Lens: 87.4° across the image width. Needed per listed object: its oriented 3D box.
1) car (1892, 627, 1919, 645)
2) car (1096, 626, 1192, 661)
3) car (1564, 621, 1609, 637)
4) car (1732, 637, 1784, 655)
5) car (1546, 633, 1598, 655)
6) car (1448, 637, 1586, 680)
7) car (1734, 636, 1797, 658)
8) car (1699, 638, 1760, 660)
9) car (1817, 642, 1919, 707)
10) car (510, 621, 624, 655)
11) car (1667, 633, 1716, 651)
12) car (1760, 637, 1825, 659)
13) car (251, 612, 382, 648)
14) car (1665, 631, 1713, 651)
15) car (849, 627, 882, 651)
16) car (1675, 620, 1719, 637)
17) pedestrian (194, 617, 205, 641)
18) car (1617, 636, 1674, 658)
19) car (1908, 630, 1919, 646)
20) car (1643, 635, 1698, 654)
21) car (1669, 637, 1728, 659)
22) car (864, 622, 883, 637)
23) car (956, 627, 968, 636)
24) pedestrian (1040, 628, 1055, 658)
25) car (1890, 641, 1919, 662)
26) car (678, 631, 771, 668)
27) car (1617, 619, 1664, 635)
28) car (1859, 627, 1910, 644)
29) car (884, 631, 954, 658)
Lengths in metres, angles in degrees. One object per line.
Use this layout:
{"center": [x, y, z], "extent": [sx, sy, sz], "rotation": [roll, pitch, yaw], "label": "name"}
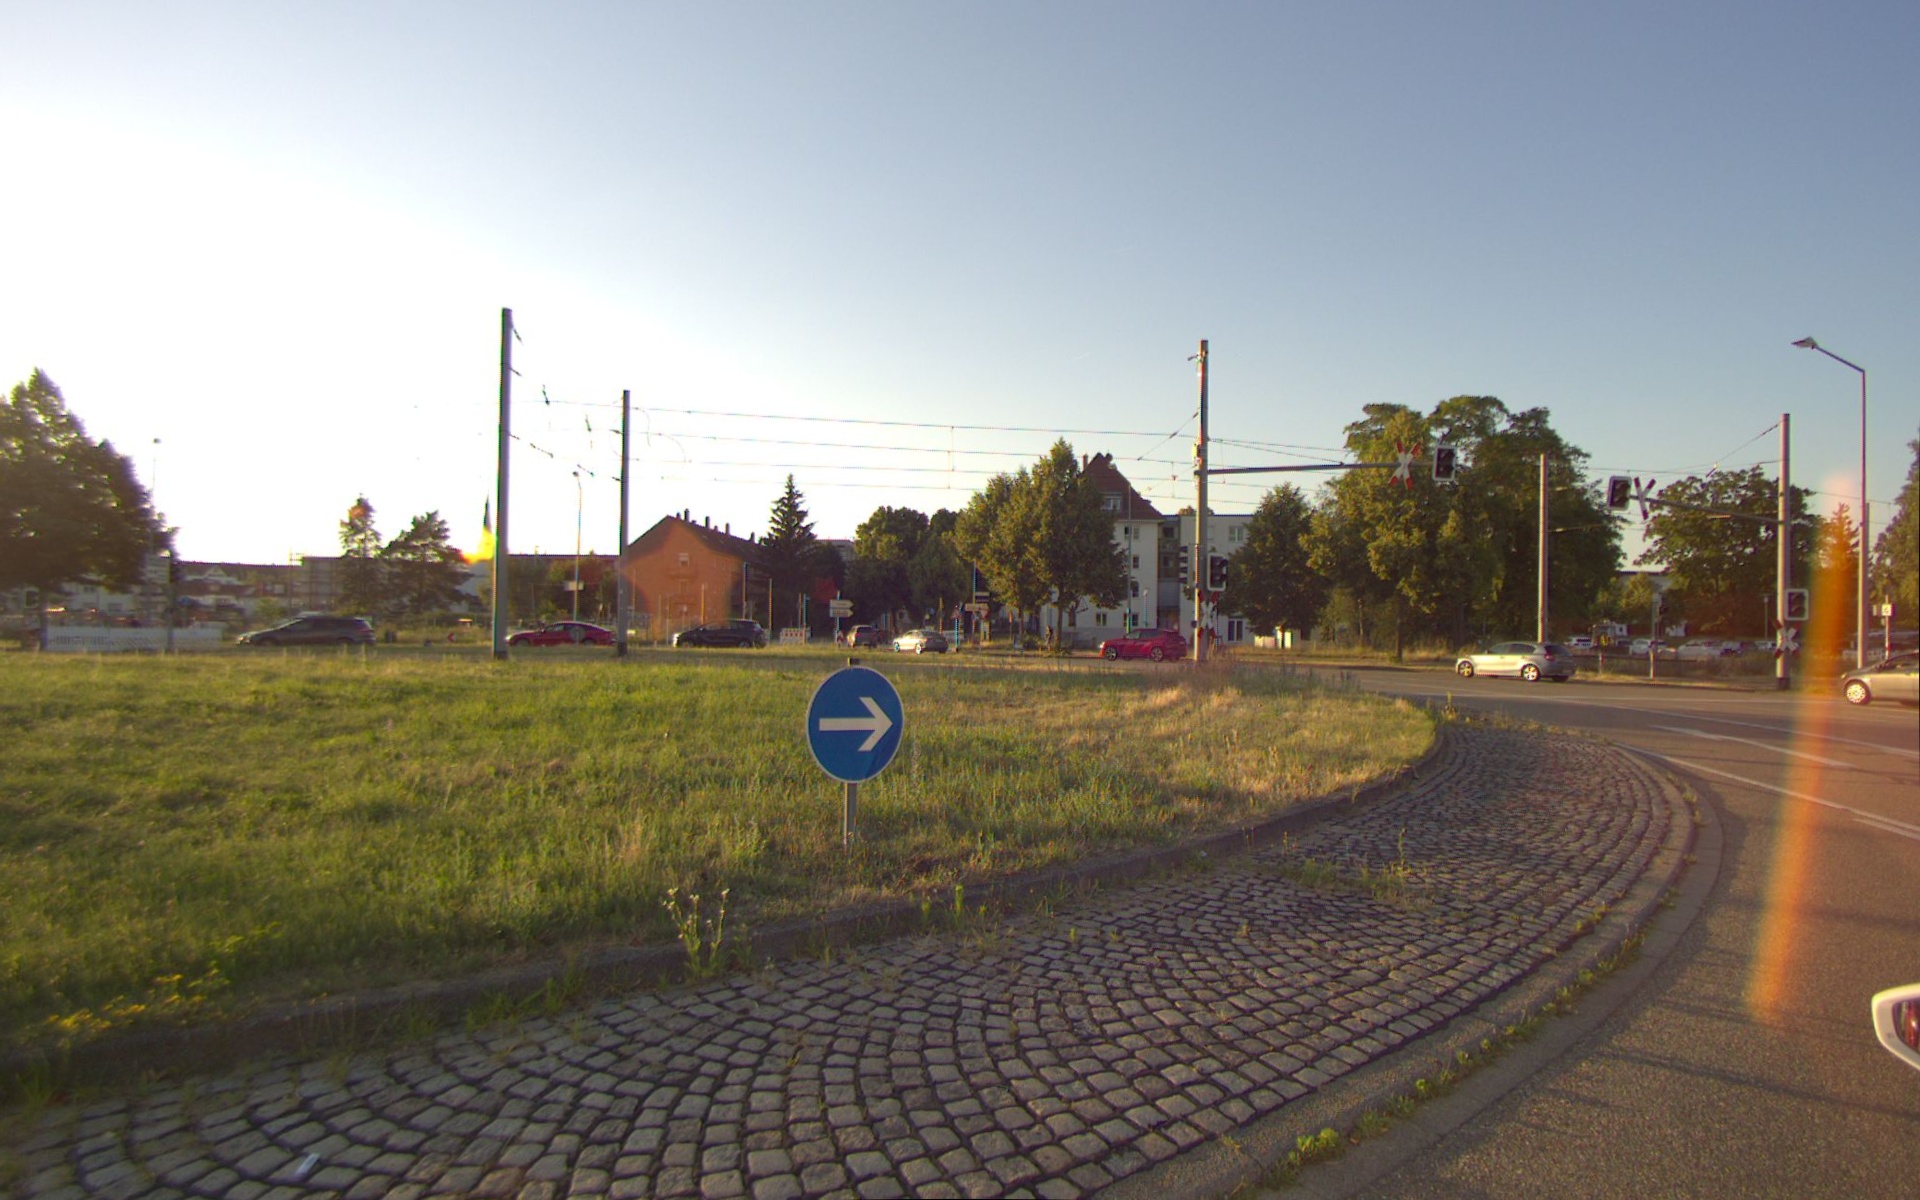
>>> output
{"center": [107.462, 4.049, 112.575], "extent": [3.919, 2.040, 2.001], "rotation": [1, -1, 11], "label": "car"}
{"center": [9.220, 2.146, 50.455], "extent": [4.351, 1.594, 1.990], "rotation": [0, -1, 42], "label": "car"}
{"center": [79.591, 3.672, 127.605], "extent": [4.507, 2.040, 2.000], "rotation": [1, -1, 0], "label": "car"}
{"center": [77.354, 4.435, 97.396], "extent": [3.938, 1.684, 1.894], "rotation": [0, -1, 39], "label": "car"}
{"center": [49.419, 3.557, 81.215], "extent": [1.960, 1.625, 4.002], "rotation": [1, -1, 3], "label": "car"}
{"center": [20.189, 2.085, 36.585], "extent": [1.843, 1.408, 4.136], "rotation": [1, -1, -25], "label": "car"}
{"center": [64.020, 3.730, 79.915], "extent": [1.960, 1.625, 4.002], "rotation": [1, -1, 3], "label": "car"}
{"center": [61.640, 3.925, 80.544], "extent": [1.960, 1.625, 4.002], "rotation": [1, -1, 3], "label": "car"}
{"center": [23.712, 1.842, 24.573], "extent": [1.831, 1.473, 4.162], "rotation": [1, -1, -2], "label": "car"}
{"center": [-17.516, 1.680, 44.946], "extent": [4.416, 1.410, 1.892], "rotation": [1, -1, -10], "label": "car"}
{"center": [73.169, 4.204, 100.558], "extent": [3.934, 1.684, 1.994], "rotation": [0, -1, 35], "label": "car"}
{"center": [66.373, 3.803, 80.154], "extent": [1.960, 1.625, 4.002], "rotation": [1, -1, 3], "label": "car"}
{"center": [-26.526, 1.241, 41.600], "extent": [4.326, 1.394, 1.987], "rotation": [1, -1, -26], "label": "car"}
{"center": [76.007, 4.256, 104.787], "extent": [3.934, 2.040, 1.994], "rotation": [0, -1, 35], "label": "car"}
{"center": [-7.014, 2.860, 74.016], "extent": [1.965, 1.659, 4.516], "rotation": [0, -1, -11], "label": "car"}
{"center": [93.216, 3.611, 127.011], "extent": [4.033, 2.040, 2.001], "rotation": [1, -1, 4], "label": "car"}
{"center": [-43.315, 1.650, 57.214], "extent": [0.392, 1.325, 0.426], "rotation": [1, -1, -30], "label": "pedestrian"}
{"center": [54.761, 3.715, 80.322], "extent": [1.960, 1.625, 4.002], "rotation": [1, -1, 3], "label": "car"}
{"center": [105.593, 4.132, 108.698], "extent": [1.971, 1.728, 3.979], "rotation": [1, -1, -22], "label": "car"}
{"center": [69.218, 4.346, 97.914], "extent": [3.919, 1.684, 1.904], "rotation": [1, -1, 5], "label": "car"}
{"center": [59.521, 3.863, 81.022], "extent": [1.960, 1.625, 4.002], "rotation": [1, -1, 3], "label": "car"}
{"center": [-8.396, 2.863, 97.757], "extent": [1.661, 1.372, 3.999], "rotation": [1, -1, -2], "label": "car"}
{"center": [0.456, 6.000, 190.210], "extent": [1.960, 1.618, 4.002], "rotation": [1, -1, 5], "label": "car"}
{"center": [5.683, 2.783, 65.240], "extent": [0.614, 1.918, 0.662], "rotation": [2, 0, -35], "label": "pedestrian"}
{"center": [76.357, 4.103, 79.457], "extent": [1.960, 1.625, 4.002], "rotation": [1, -1, 3], "label": "car"}
{"center": [-10.662, 2.252, 45.718], "extent": [3.925, 1.605, 1.894], "rotation": [1, -1, -7], "label": "car"}
{"center": [86.265, 3.403, 127.421], "extent": [4.505, 2.040, 2.001], "rotation": [1, -1, 5], "label": "car"}
{"center": [108.042, 4.149, 117.426], "extent": [3.919, 1.840, 2.001], "rotation": [1, -1, 5], "label": "car"}
{"center": [-2.541, 2.646, 60.813], "extent": [1.871, 1.483, 4.618], "rotation": [1, -1, -39], "label": "car"}
